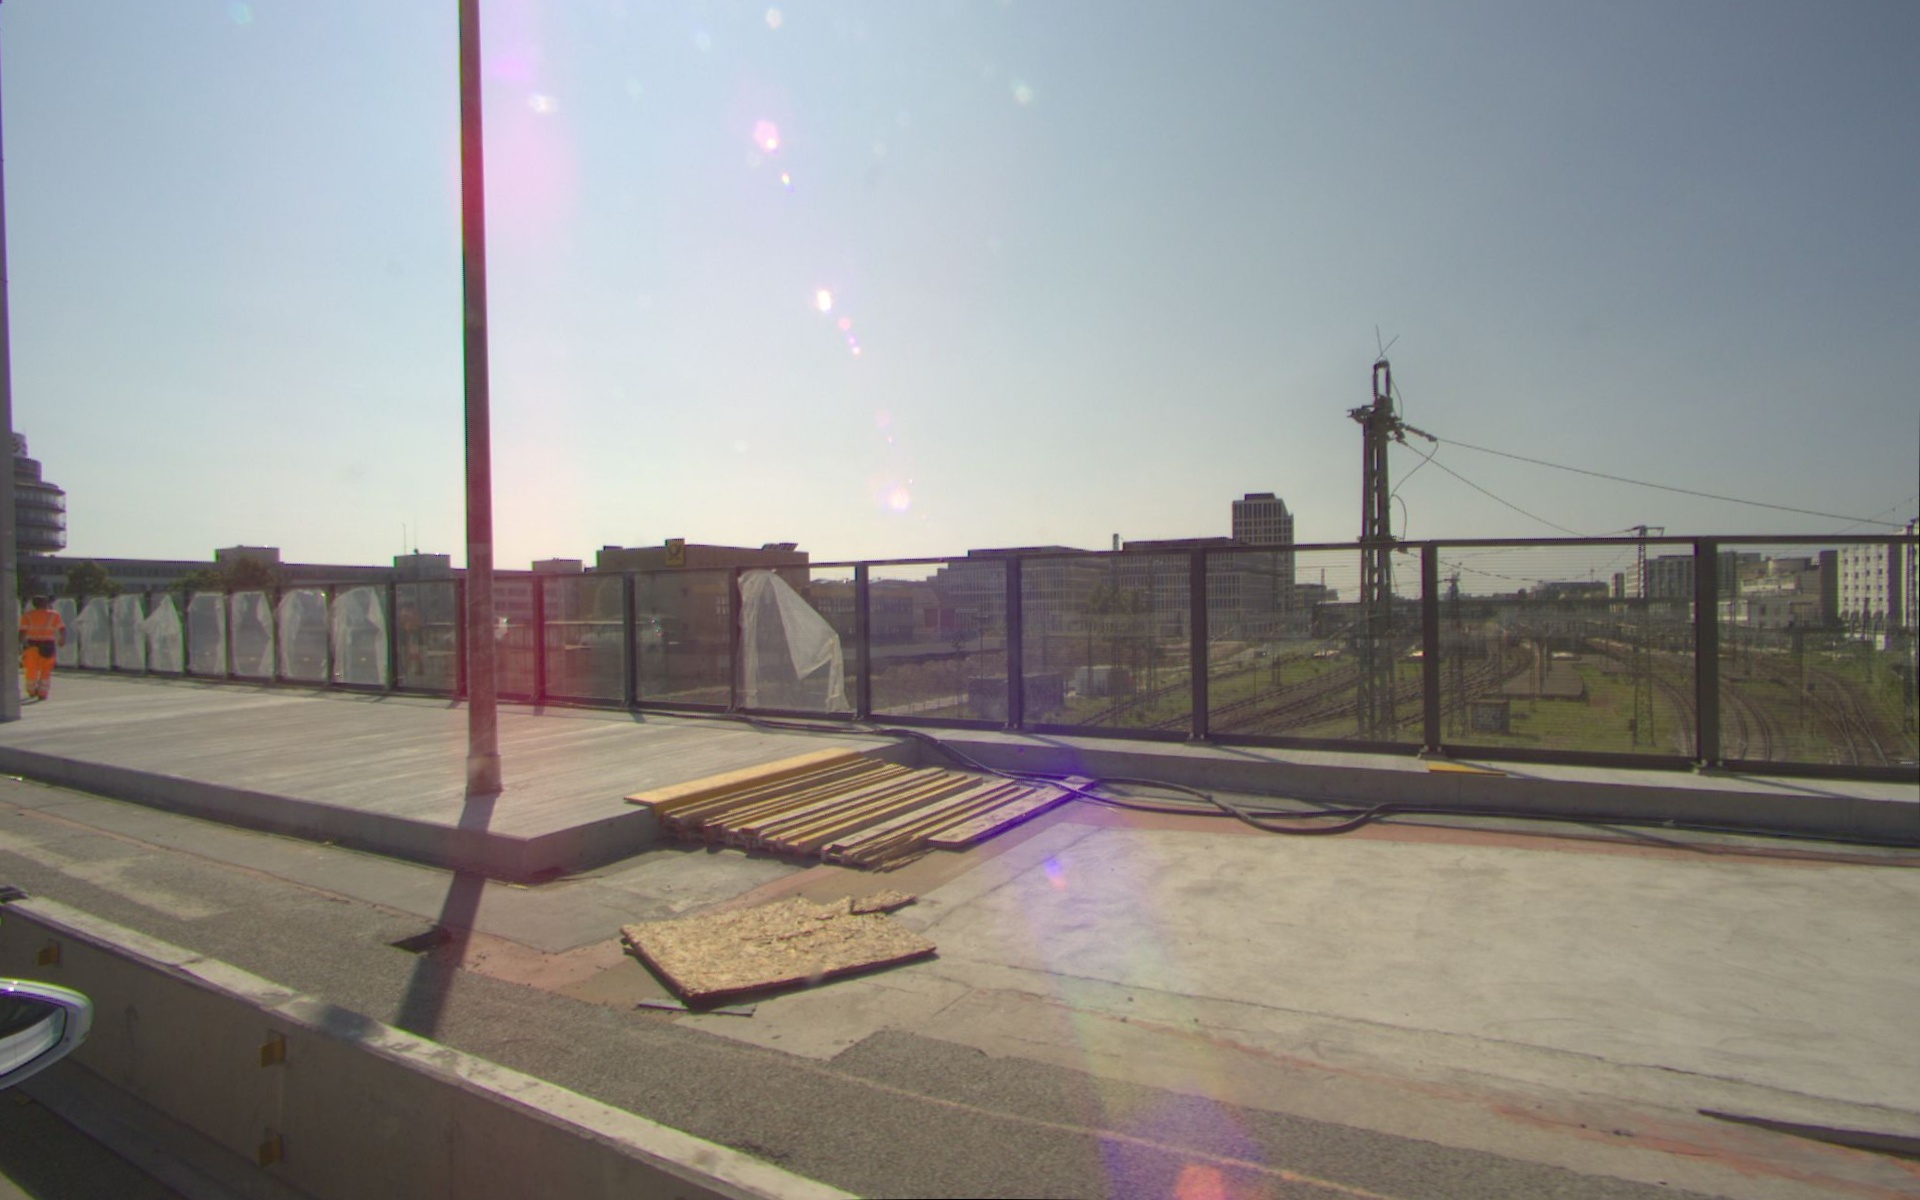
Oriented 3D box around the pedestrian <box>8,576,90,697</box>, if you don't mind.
[{"bbox_3d":[-15.254,0.588,16.771,0.788,1.961,0.780,-1,1,32],"label":"pedestrian"}]
